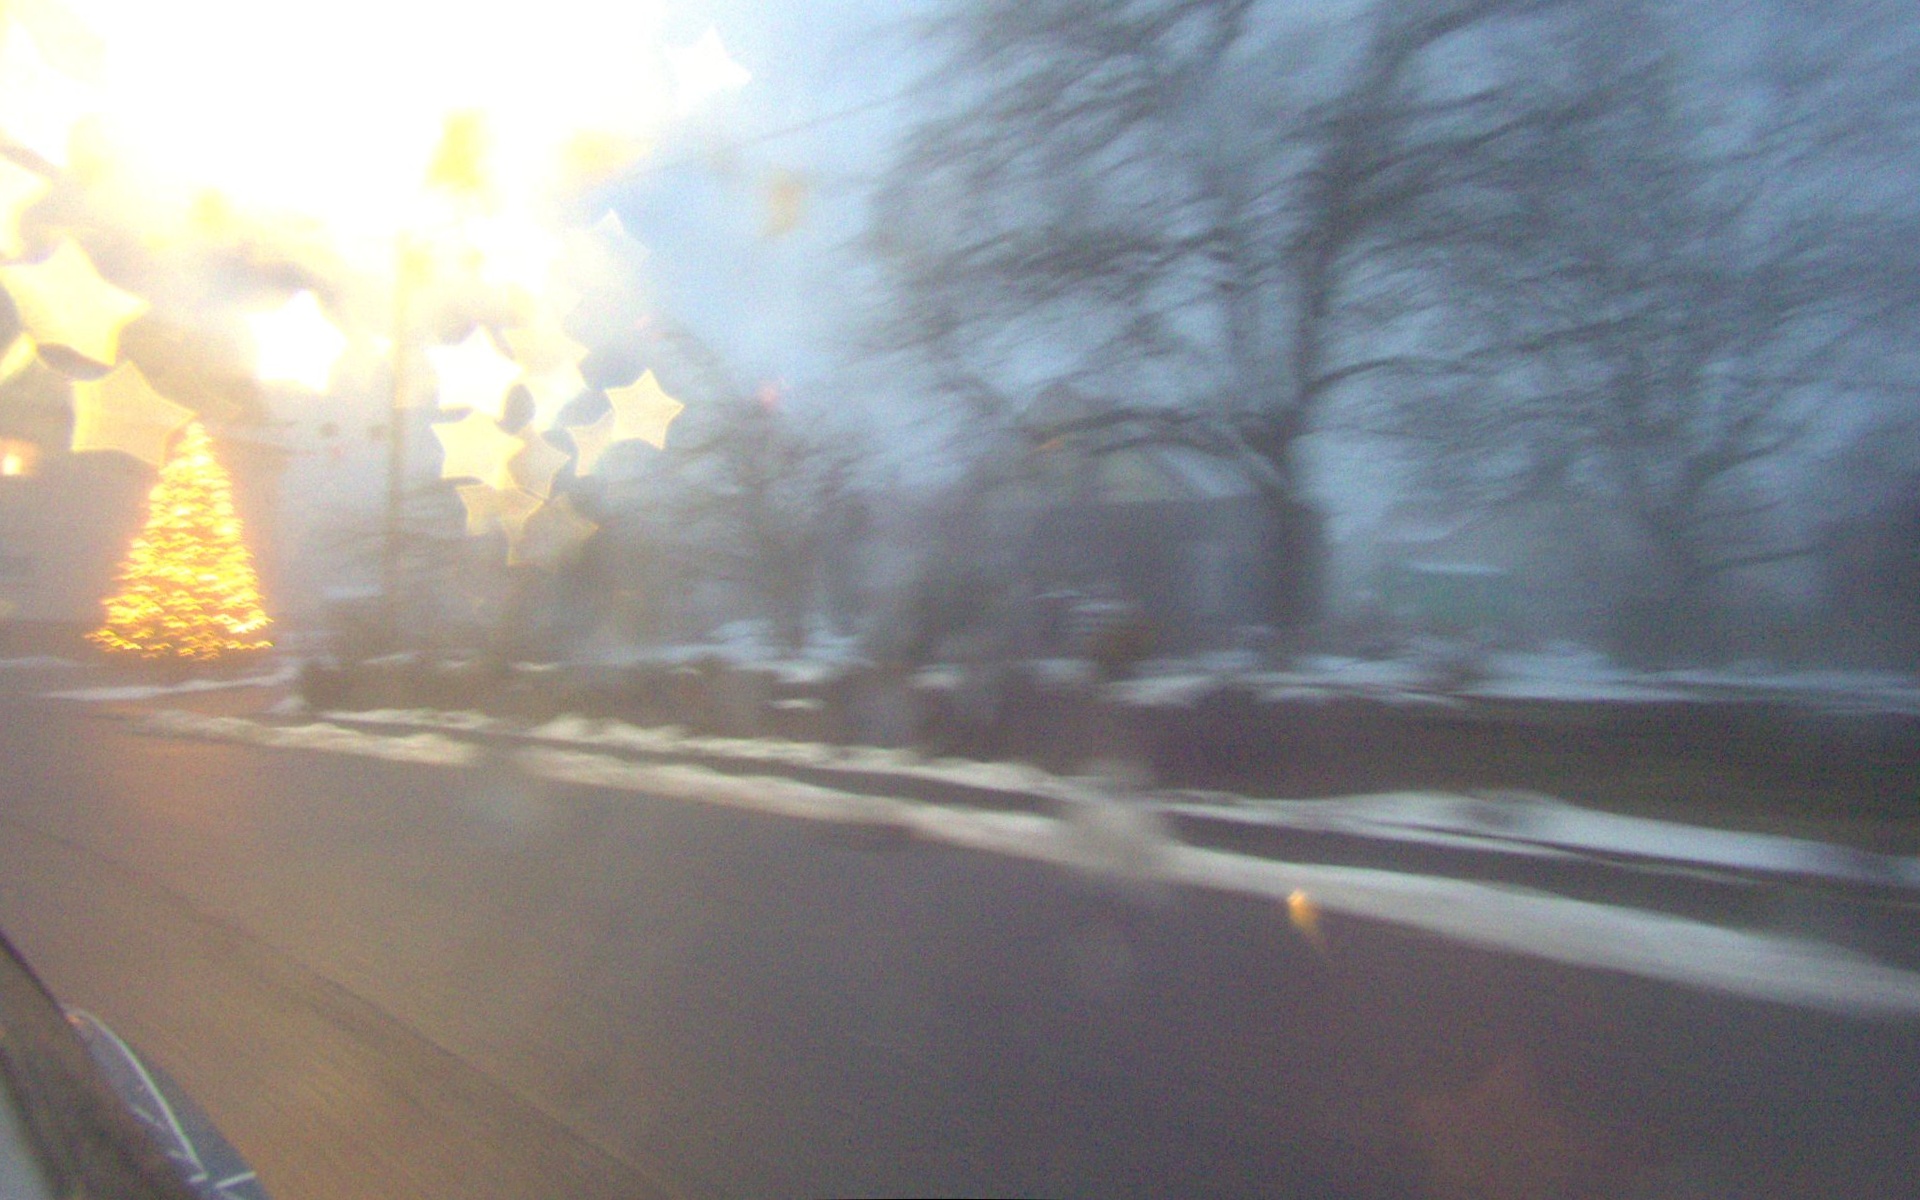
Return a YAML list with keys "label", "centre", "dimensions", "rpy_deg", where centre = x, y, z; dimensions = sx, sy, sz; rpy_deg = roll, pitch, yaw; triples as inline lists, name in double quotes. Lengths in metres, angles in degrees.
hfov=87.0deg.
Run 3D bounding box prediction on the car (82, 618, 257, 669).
- label: "car"
  centre: [-23.334, 1.235, 30.014]
  dimensions: [1.618, 1.383, 3.753]
  rpy_deg: [0, -1, 27]
